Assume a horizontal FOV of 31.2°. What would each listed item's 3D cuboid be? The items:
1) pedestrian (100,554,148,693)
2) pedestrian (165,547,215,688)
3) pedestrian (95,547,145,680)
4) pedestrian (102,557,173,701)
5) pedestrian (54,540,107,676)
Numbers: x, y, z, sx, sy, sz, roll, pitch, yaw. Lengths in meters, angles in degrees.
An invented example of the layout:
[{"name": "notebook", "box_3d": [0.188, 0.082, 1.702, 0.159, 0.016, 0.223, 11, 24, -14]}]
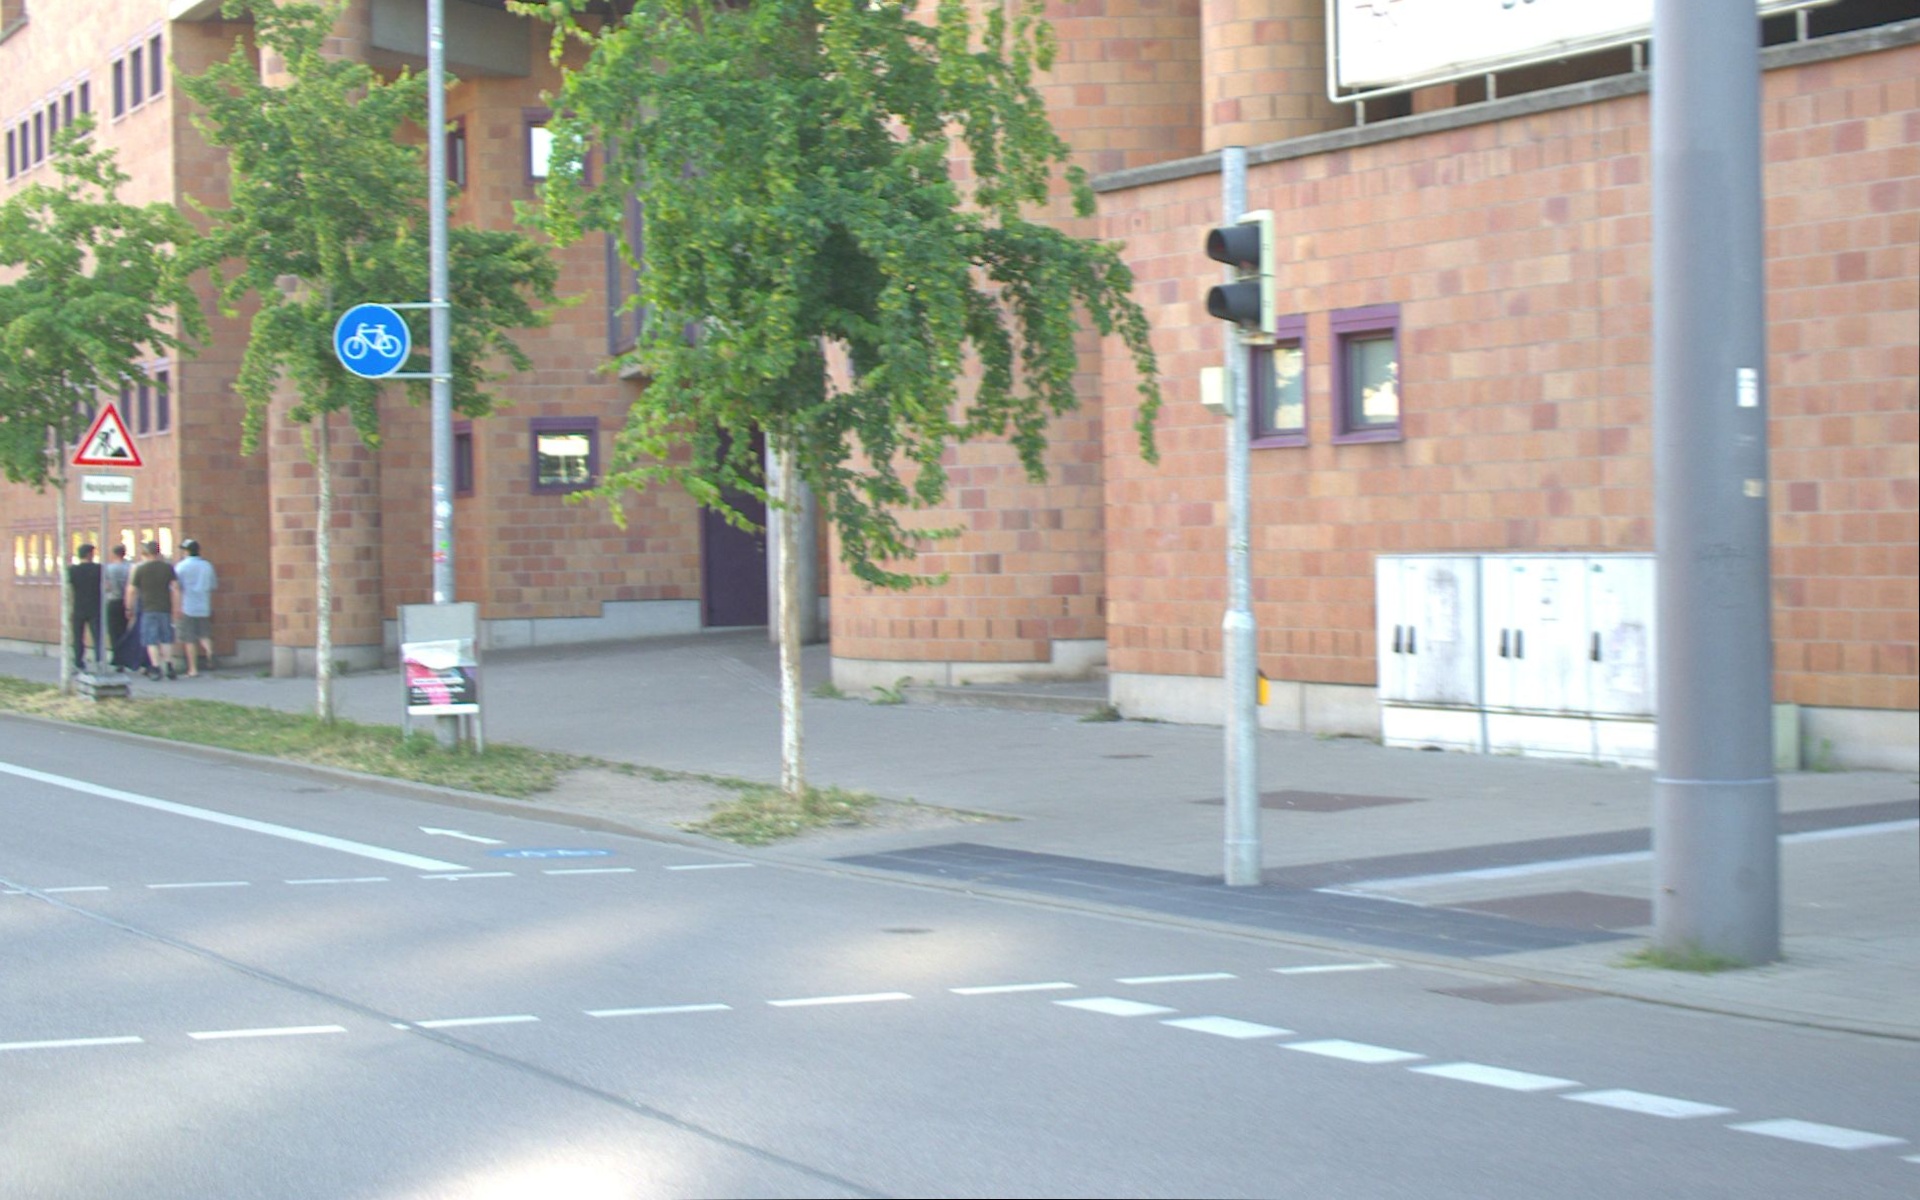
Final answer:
[{"name": "pedestrian", "box_3d": [-10.708, 0.294, 44.037, 0.536, 1.750, 0.696, -1, 1, -16]}, {"name": "pedestrian", "box_3d": [-9.709, 0.220, 43.352, 0.536, 1.750, 0.696, -1, 1, -16]}, {"name": "pedestrian", "box_3d": [-11.143, 0.178, 45.616, 0.536, 1.750, 0.422, -2, 1, -25]}, {"name": "pedestrian", "box_3d": [-10.165, 0.353, 42.512, 0.732, 1.750, 0.696, -1, 1, -6]}, {"name": "pedestrian", "box_3d": [-11.448, 0.098, 44.731, 0.536, 1.750, 0.465, -2, 1, -27]}]
